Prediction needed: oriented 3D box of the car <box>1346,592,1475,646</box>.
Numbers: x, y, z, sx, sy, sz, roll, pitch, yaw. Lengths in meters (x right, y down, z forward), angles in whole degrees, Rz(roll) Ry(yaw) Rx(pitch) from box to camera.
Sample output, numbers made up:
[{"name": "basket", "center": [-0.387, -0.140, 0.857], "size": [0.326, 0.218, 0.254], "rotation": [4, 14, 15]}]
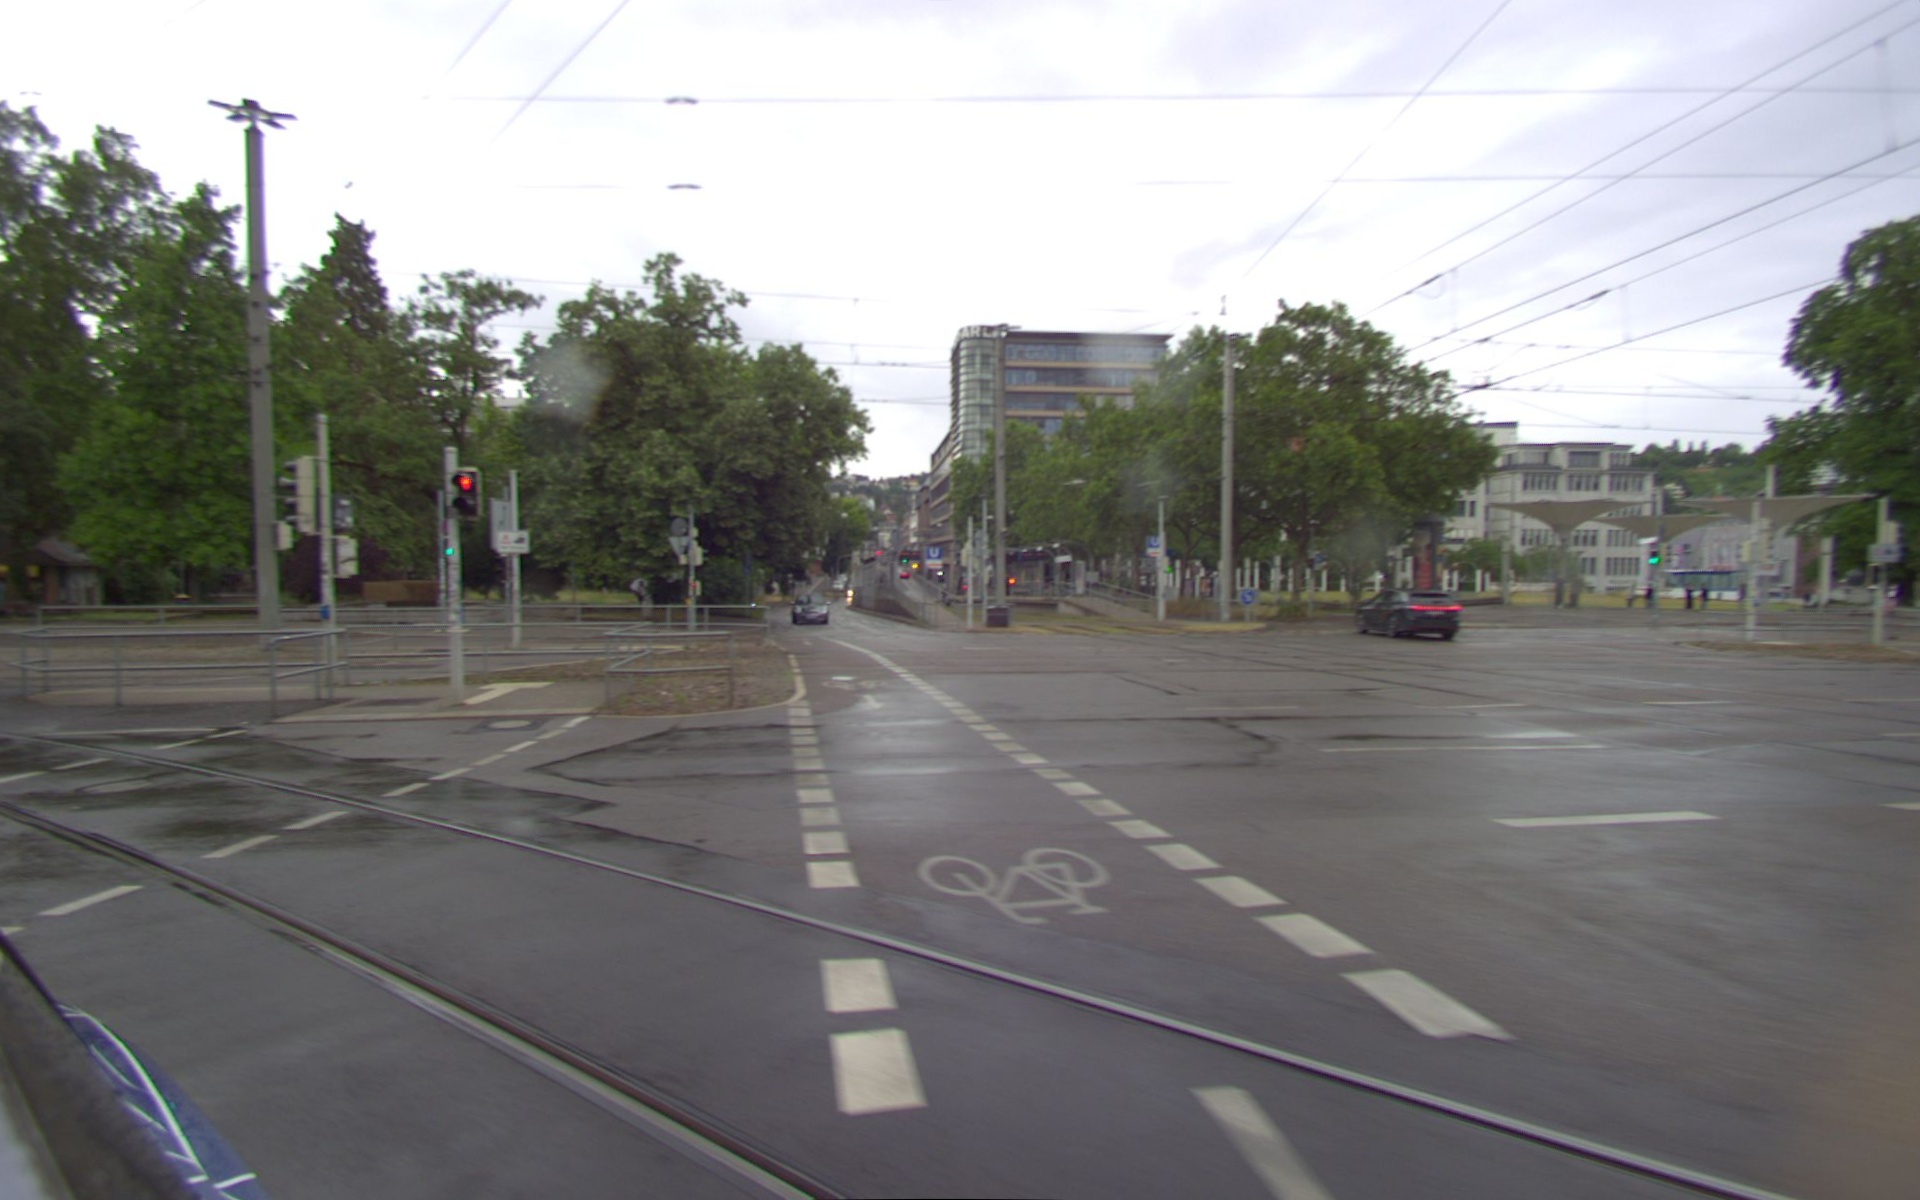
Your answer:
[{"name": "car", "center": [13.876, 0.529, 31.542], "size": [2.078, 1.517, 4.728], "rotation": [0, 1, 3]}]

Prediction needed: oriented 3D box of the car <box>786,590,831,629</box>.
[{"name": "car", "center": [-7.166, 0.419, 47.840], "size": [1.968, 1.718, 4.008], "rotation": [0, 1, -9]}]
